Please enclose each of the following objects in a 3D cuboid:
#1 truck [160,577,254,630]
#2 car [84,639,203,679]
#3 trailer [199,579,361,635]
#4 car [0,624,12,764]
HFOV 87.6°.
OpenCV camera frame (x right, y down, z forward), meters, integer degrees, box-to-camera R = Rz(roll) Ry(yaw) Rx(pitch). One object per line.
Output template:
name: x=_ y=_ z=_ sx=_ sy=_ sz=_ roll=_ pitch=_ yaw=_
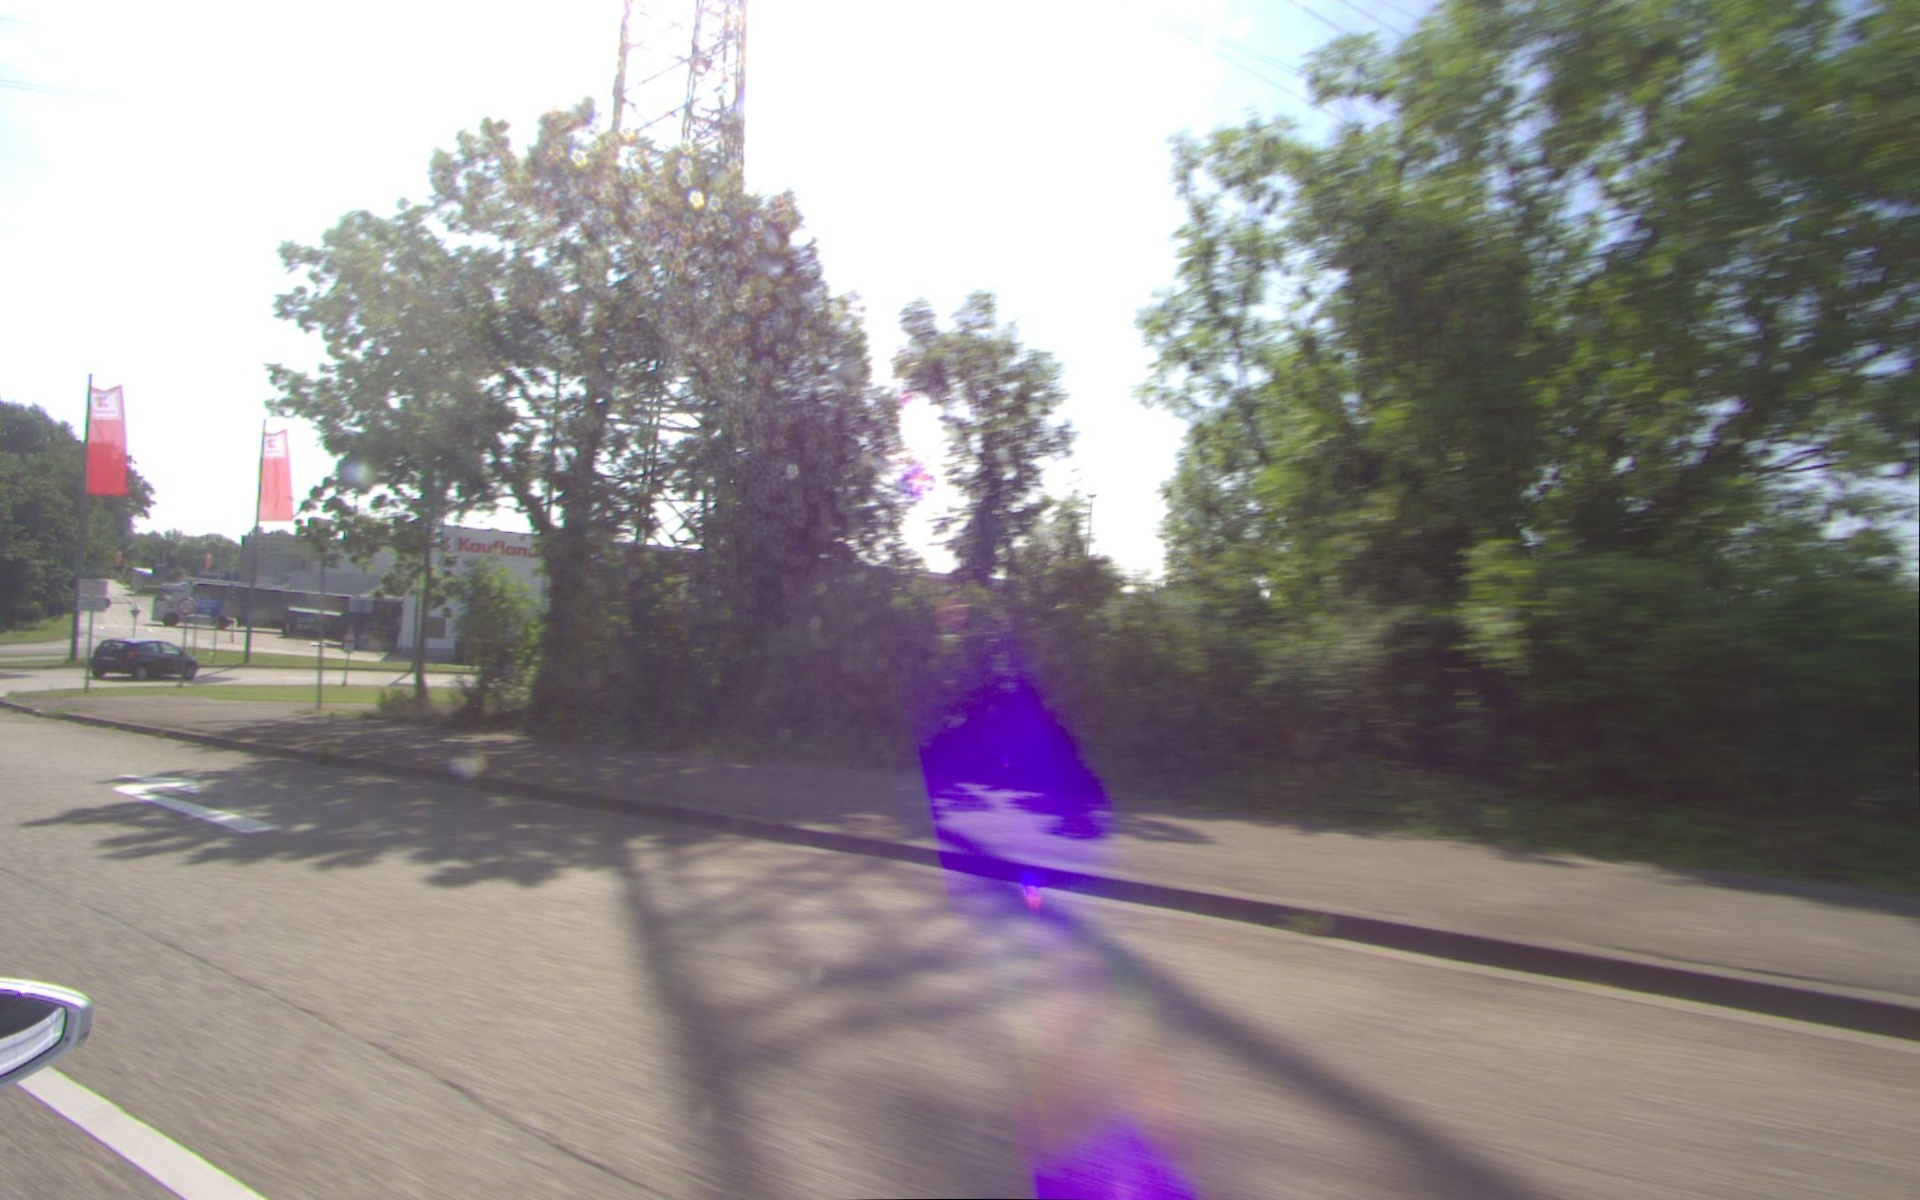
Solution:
truck: x=-70.640 y=0.332 z=94.179 sx=6.480 sy=4.473 sz=3.734 roll=4 pitch=-1 yaw=-31
car: x=-31.668 y=2.313 z=38.968 sx=1.746 sy=1.347 sz=3.743 roll=4 pitch=-4 yaw=-6
trailer: x=-65.644 y=0.725 z=97.262 sx=12.547 sy=4.473 sz=3.734 roll=4 pitch=-1 yaw=-31
car: x=-12.778 y=1.050 z=11.570 sx=4.088 sy=1.549 sz=1.852 roll=-1 pitch=-2 yaw=35
